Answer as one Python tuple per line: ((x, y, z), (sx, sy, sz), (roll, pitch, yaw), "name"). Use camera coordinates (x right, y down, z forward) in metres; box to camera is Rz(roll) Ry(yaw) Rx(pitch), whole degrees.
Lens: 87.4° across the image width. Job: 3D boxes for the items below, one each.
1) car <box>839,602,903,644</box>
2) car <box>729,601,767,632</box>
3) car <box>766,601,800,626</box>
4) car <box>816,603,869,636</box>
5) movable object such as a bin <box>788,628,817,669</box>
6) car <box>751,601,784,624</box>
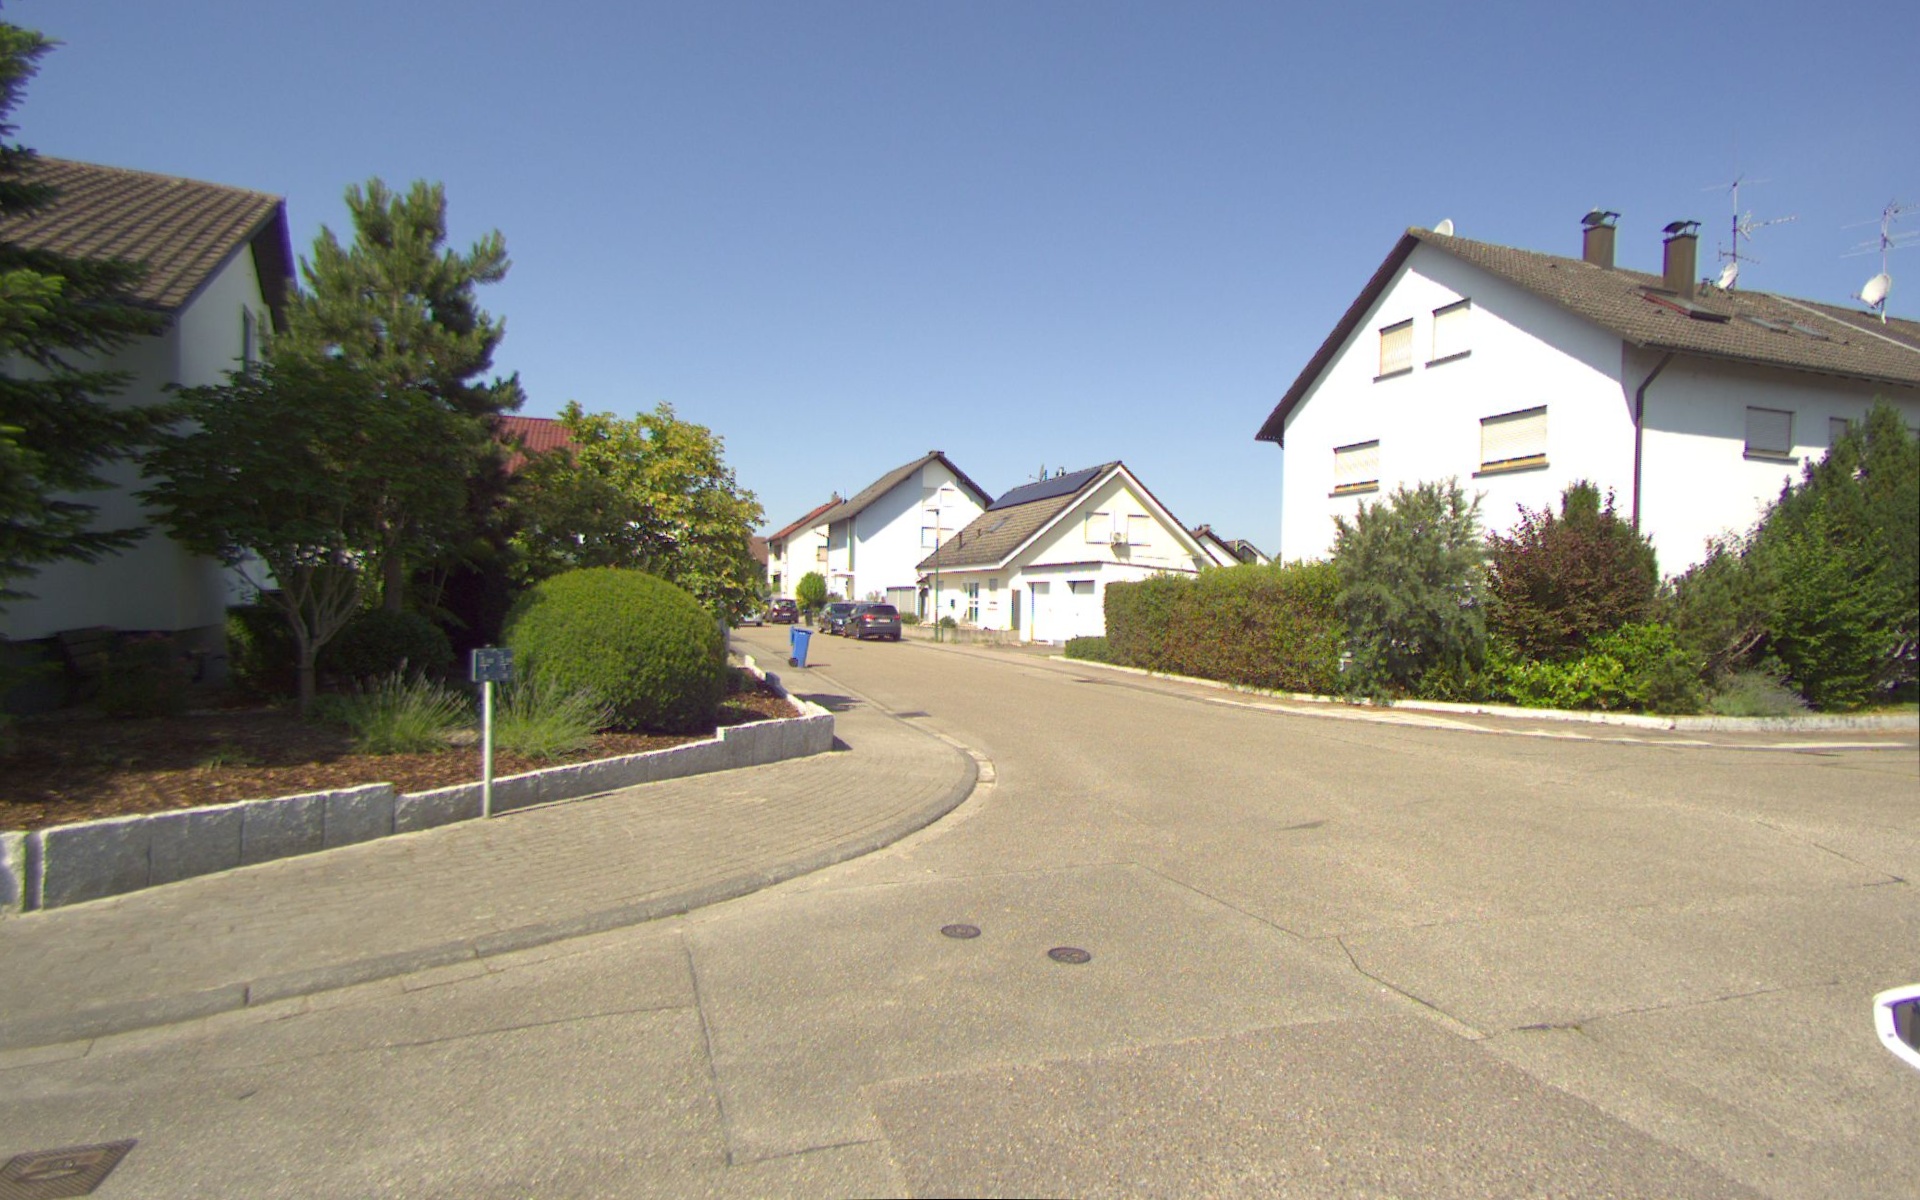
((-3.722, 0.914, 41.443), (1.622, 1.498, 3.982), (3, 0, -19), "car")
((-11.912, 0.905, 56.241), (1.625, 1.602, 3.793), (1, 0, -18), "car")
((-11.747, 0.880, 66.595), (1.625, 1.602, 4.130), (1, 0, -18), "car")
((-5.571, 0.898, 47.067), (1.695, 1.458, 4.486), (1, 0, -17), "car")
((-3.725, 1.135, 23.702), (0.575, 0.928, 0.595), (2, 0, -18), "movable object such as a bin")
((-13.661, 0.893, 71.239), (1.626, 1.566, 4.028), (1, 0, -20), "car")
